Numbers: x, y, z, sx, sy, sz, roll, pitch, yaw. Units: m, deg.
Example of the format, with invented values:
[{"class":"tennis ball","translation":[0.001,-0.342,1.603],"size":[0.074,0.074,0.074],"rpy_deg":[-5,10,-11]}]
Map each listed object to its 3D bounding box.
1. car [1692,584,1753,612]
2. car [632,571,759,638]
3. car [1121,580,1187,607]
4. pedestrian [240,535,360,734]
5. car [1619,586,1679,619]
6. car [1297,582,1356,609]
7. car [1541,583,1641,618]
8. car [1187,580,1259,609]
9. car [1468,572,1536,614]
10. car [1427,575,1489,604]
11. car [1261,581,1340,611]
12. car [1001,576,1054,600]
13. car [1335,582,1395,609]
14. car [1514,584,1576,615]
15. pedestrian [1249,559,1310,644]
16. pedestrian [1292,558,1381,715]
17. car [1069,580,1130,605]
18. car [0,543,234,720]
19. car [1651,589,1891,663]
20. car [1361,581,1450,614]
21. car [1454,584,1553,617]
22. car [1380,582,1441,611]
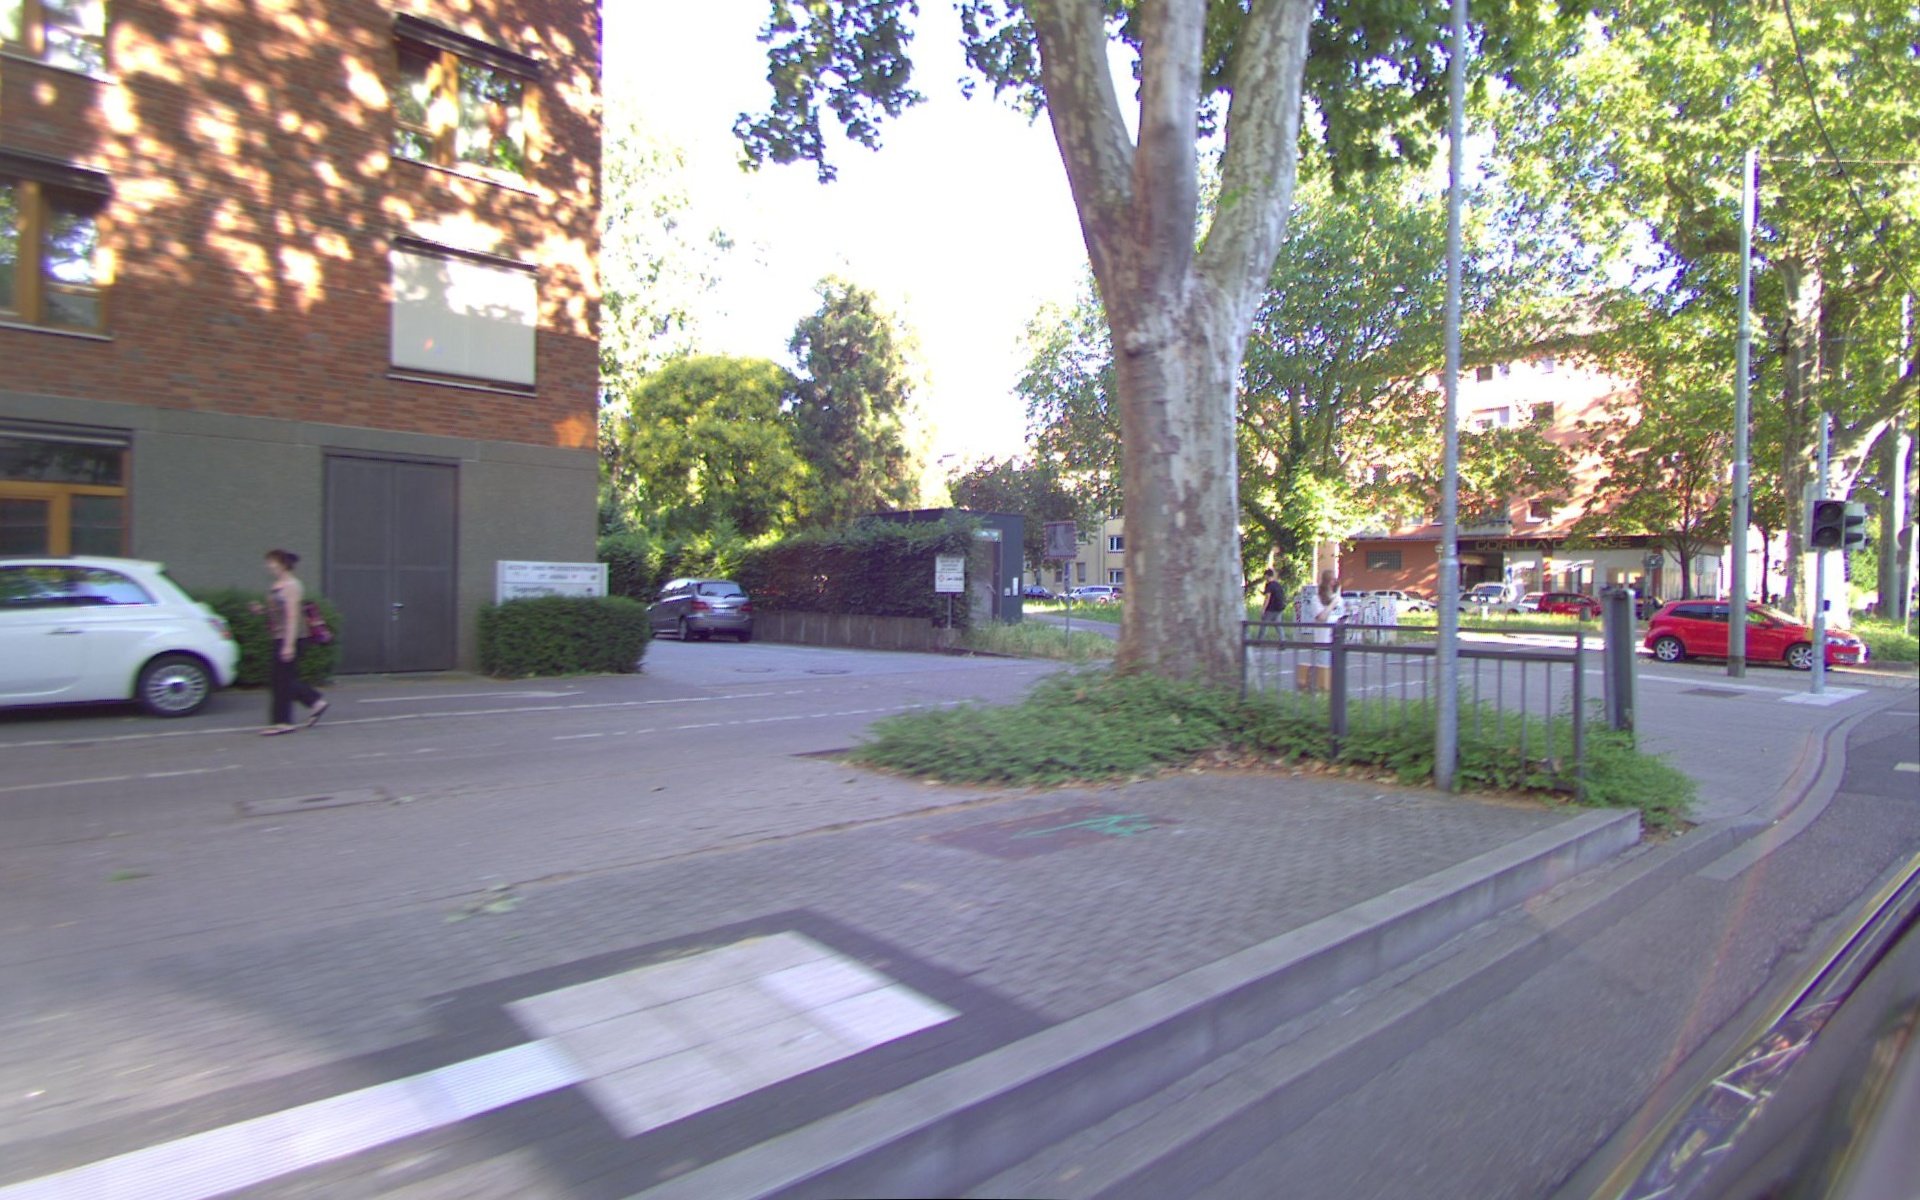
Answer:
[{"class":"car","translation":[41.757,-0.115,55.408],"size":[4.389,1.452,1.752],"rpy_deg":[0,2,-40]},{"class":"car","translation":[-6.890,0.075,26.136],"size":[1.759,1.584,3.997],"rpy_deg":[0,1,-38]},{"class":"car","translation":[12.361,-0.436,64.700],"size":[1.655,1.601,3.923],"rpy_deg":[0,1,-42]},{"class":"pedestrian","translation":[-5.959,0.281,9.136],"size":[0.820,1.689,0.737],"rpy_deg":[0,1,-41]},{"class":"car","translation":[34.911,0.100,51.219],"size":[1.789,1.594,4.505],"rpy_deg":[2,1,44]},{"class":"car","translation":[23.295,-0.299,64.275],"size":[4.503,1.594,1.790],"rpy_deg":[0,1,-45]},{"class":"car","translation":[28.774,-0.003,46.216],"size":[1.655,1.470,3.543],"rpy_deg":[0,1,-42]},{"class":"car","translation":[15.749,-0.353,60.634],"size":[1.655,1.601,3.923],"rpy_deg":[0,1,-42]},{"class":"car","translation":[30.362,-0.389,56.634],"size":[5.000,2.211,1.914],"rpy_deg":[0,1,-44]},{"class":"car","translation":[28.713,-0.585,58.263],"size":[4.503,1.594,1.790],"rpy_deg":[0,1,-45]},{"class":"car","translation":[19.266,-0.243,57.305],"size":[1.655,1.601,3.923],"rpy_deg":[0,1,-42]},{"class":"car","translation":[5.593,-0.988,83.047],"size":[4.503,1.931,1.790],"rpy_deg":[0,1,-45]},{"class":"car","translation":[25.123,-0.265,62.758],"size":[4.503,1.594,1.790],"rpy_deg":[0,1,-45]},{"class":"car","translation":[31.868,-0.042,55.068],"size":[4.503,1.594,1.790],"rpy_deg":[0,1,-45]},{"class":"pedestrian","translation":[7.094,0.026,22.500],"size":[0.995,1.833,0.850],"rpy_deg":[2,1,44]},{"class":"pedestrian","translation":[4.247,0.384,11.421],"size":[0.725,1.689,0.653],"rpy_deg":[0,1,-41]},{"class":"car","translation":[9.342,-0.505,67.861],"size":[1.655,1.601,3.923],"rpy_deg":[0,1,-42]},{"class":"car","translation":[-8.765,0.249,9.218],"size":[3.358,1.514,1.603],"rpy_deg":[0,1,-42]},{"class":"car","translation":[17.921,0.511,22.528],"size":[1.618,1.441,3.896],"rpy_deg":[0,1,-37]},{"class":"car","translation":[23.311,-0.153,53.025],"size":[1.655,1.601,3.923],"rpy_deg":[0,1,-42]},{"class":"car","translation":[26.509,-0.014,49.437],"size":[1.655,1.470,3.923],"rpy_deg":[0,1,-42]},{"class":"car","translation":[26.948,-0.219,60.435],"size":[4.503,1.594,1.790],"rpy_deg":[0,1,-45]}]
